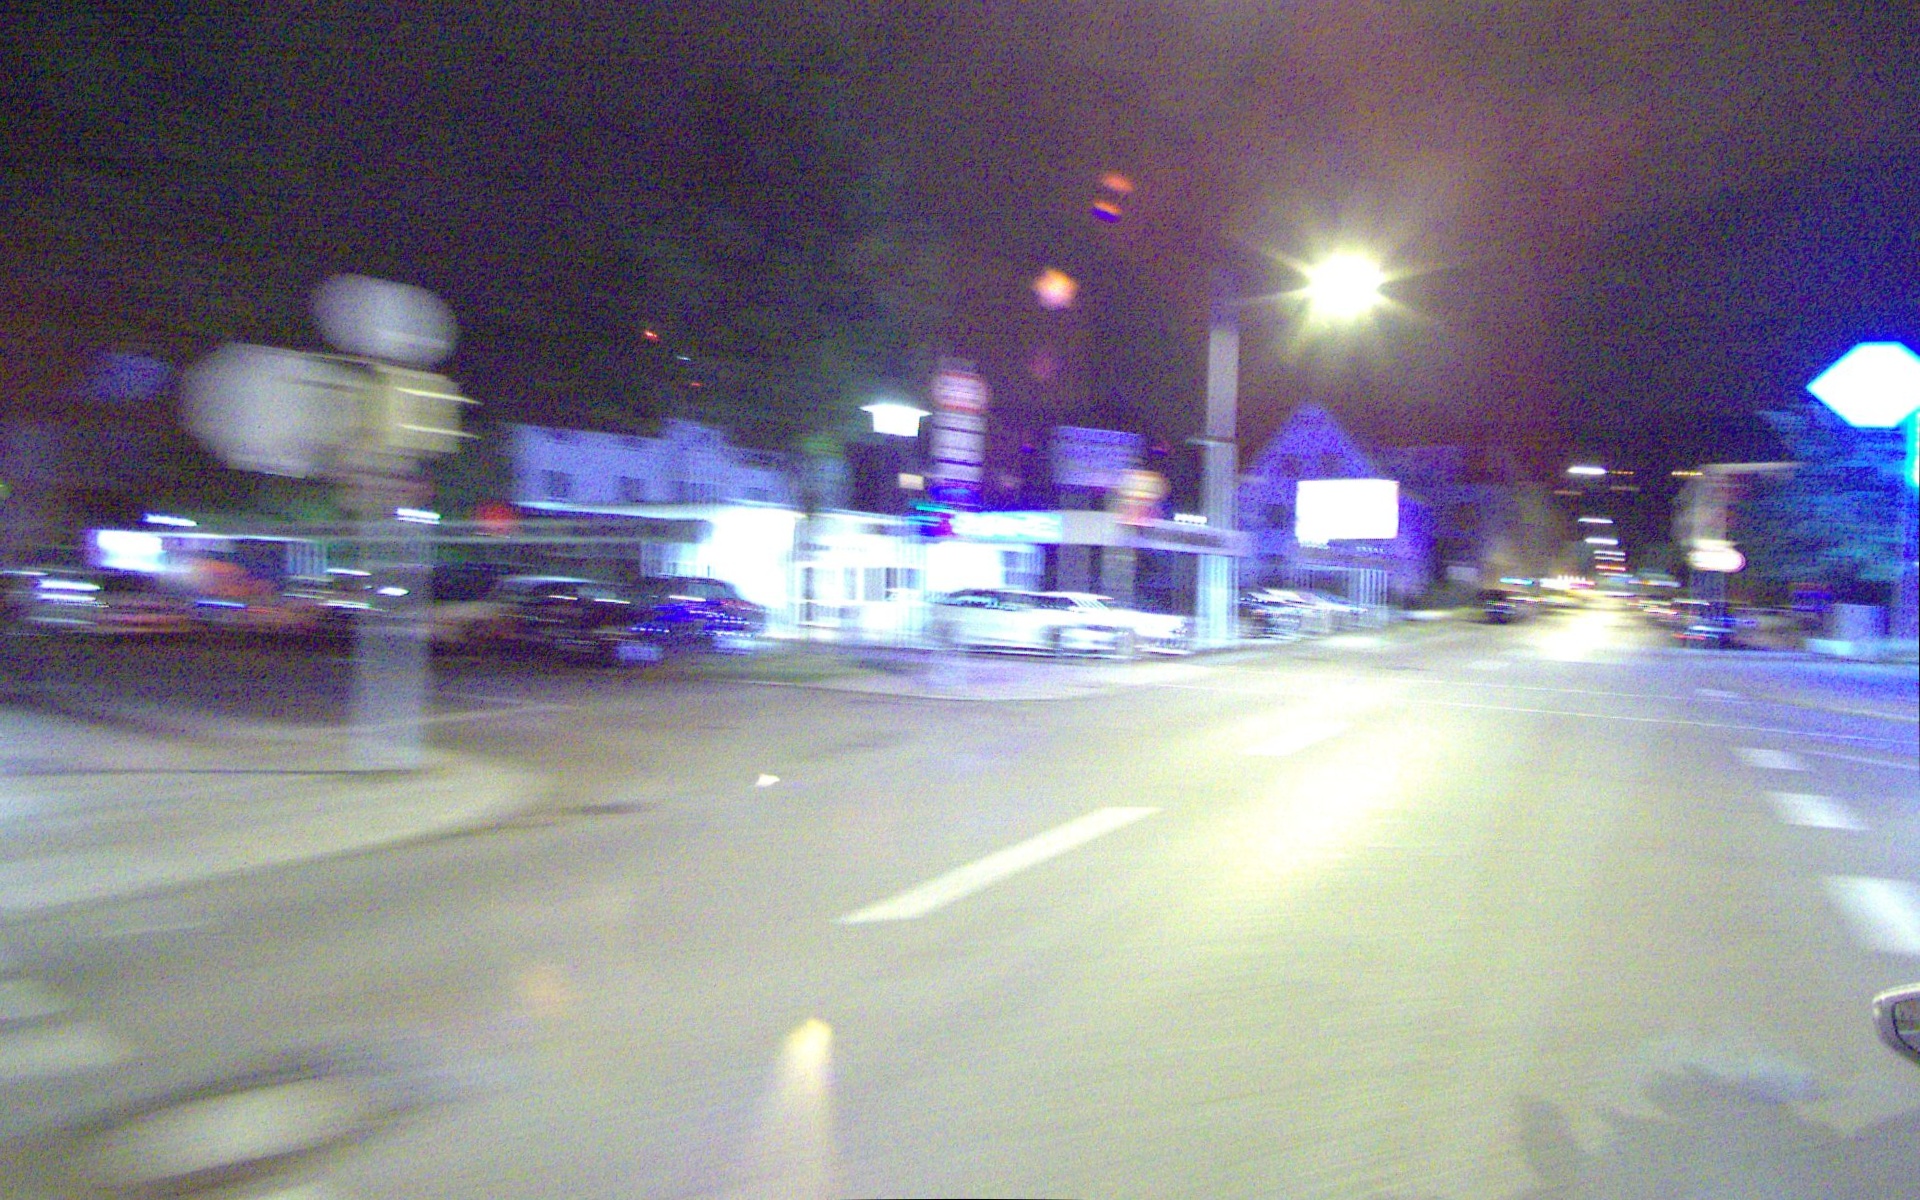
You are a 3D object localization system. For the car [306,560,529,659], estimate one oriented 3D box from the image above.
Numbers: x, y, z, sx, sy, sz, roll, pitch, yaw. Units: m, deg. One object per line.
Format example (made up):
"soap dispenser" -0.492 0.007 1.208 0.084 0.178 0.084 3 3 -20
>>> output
"car" -12.088 0.173 22.628 1.964 1.971 3.993 3 2 29

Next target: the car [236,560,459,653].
"car" -14.181 0.115 23.470 1.964 1.911 3.993 3 2 29

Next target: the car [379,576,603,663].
"car" -10.008 0.362 21.717 1.964 1.644 3.993 3 2 29

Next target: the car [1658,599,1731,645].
"car" 28.807 0.810 39.491 1.965 1.617 3.989 3 2 32

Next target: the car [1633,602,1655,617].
"car" 78.119 1.109 114.692 1.967 1.540 3.987 2 0 35

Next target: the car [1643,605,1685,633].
"car" 42.462 1.154 60.616 1.967 1.540 3.987 2 0 35

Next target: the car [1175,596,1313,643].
"car" 10.225 0.674 36.280 4.378 1.469 1.994 2 1 34

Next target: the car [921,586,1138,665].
"car" 1.490 0.513 22.278 4.378 1.469 1.994 2 1 34

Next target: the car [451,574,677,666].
"car" -8.017 0.347 20.693 1.964 1.644 3.993 3 2 29

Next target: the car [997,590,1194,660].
"car" 3.305 0.563 24.805 4.377 1.469 1.995 2 1 33

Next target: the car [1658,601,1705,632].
"car" 38.903 0.886 54.220 1.967 1.540 3.987 2 0 35

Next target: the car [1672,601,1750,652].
"car" 25.777 0.861 34.586 1.967 1.536 3.987 3 2 35

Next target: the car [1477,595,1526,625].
"car" 29.374 0.559 54.434 1.966 1.522 3.989 2 0 34

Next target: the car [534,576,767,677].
"car" -5.778 0.436 19.234 1.964 1.644 3.993 3 2 29

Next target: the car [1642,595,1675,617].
"car" 52.155 0.427 75.022 1.967 1.540 3.987 2 0 35

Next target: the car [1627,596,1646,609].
"car" 90.429 0.368 134.273 1.967 1.540 3.987 2 0 35

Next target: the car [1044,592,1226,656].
"car" 4.676 0.599 27.075 4.378 1.469 1.994 2 1 34

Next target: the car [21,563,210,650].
"car" -19.623 0.116 23.335 3.926 1.805 1.997 2 1 27

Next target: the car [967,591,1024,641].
"car" 1.437 0.595 39.145 1.960 1.799 4.002 2 0 5

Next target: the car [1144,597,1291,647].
"car" 8.645 0.701 33.847 4.378 1.469 1.994 2 1 34
